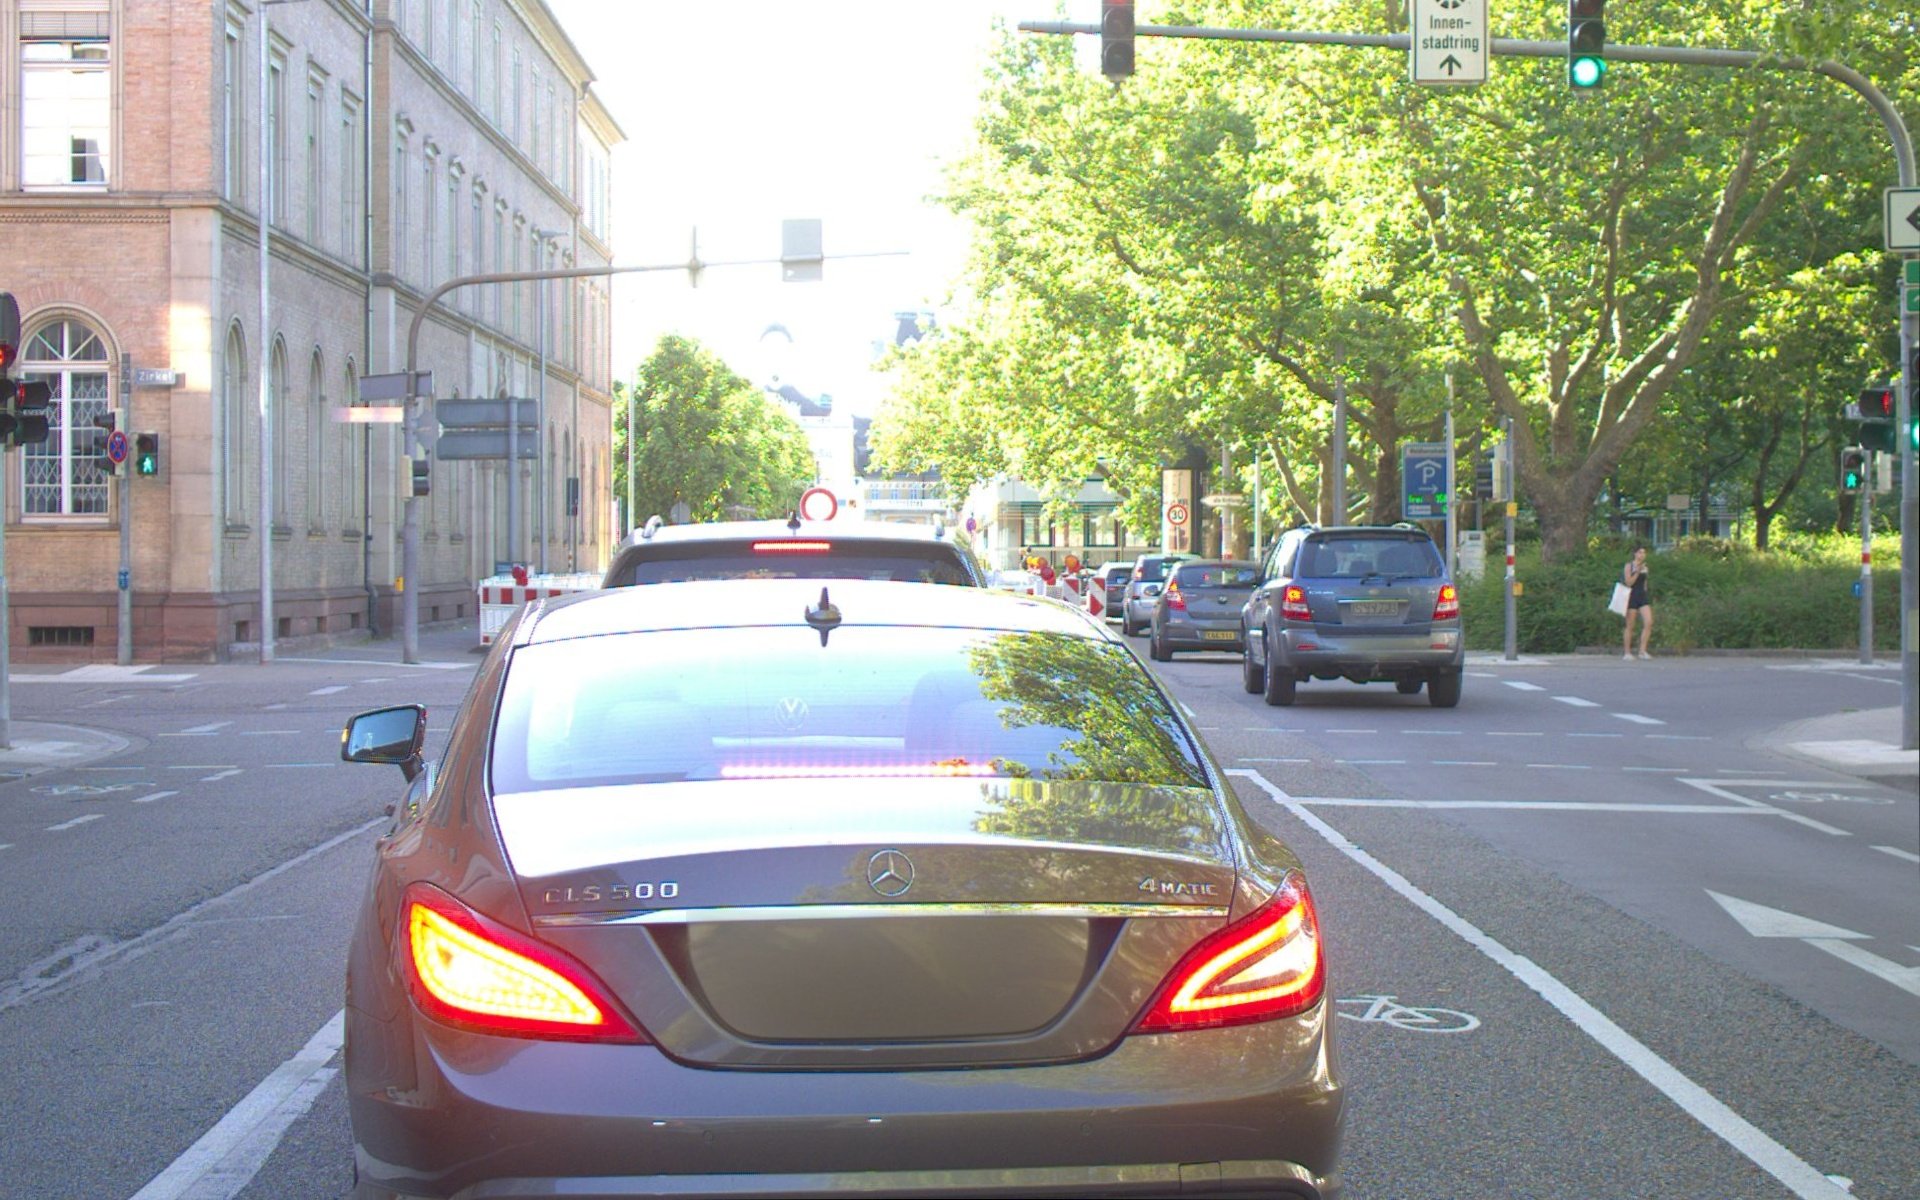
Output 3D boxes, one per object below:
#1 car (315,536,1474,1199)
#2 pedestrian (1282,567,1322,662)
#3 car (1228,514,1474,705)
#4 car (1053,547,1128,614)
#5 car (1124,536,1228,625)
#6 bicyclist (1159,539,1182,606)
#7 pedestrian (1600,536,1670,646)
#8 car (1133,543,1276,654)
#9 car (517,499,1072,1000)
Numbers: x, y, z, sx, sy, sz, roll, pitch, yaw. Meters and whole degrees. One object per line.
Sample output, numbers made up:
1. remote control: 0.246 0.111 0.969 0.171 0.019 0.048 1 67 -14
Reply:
1. car: -0.361 0.627 7.490 1.861 1.514 4.001 0 1 -8
2. pedestrian: 6.557 0.273 65.937 0.635 1.791 0.699 1 0 -4
3. car: 3.809 0.054 34.192 1.861 1.758 4.482 1 1 -1
4. car: 3.111 -0.475 82.714 1.601 1.543 3.681 1 1 -1
5. car: 4.166 -0.393 66.800 1.731 1.656 3.681 1 1 -1
6. bicyclist: 6.421 -0.847 104.918 0.594 2.032 0.566 1 0 -4
7. pedestrian: 9.585 -0.129 48.830 0.635 1.540 0.910 1 0 -14
8. car: 3.480 -0.048 49.489 1.704 1.514 4.000 1 1 -1
9. car: -0.582 0.473 13.620 1.861 1.677 4.000 1 1 -1
